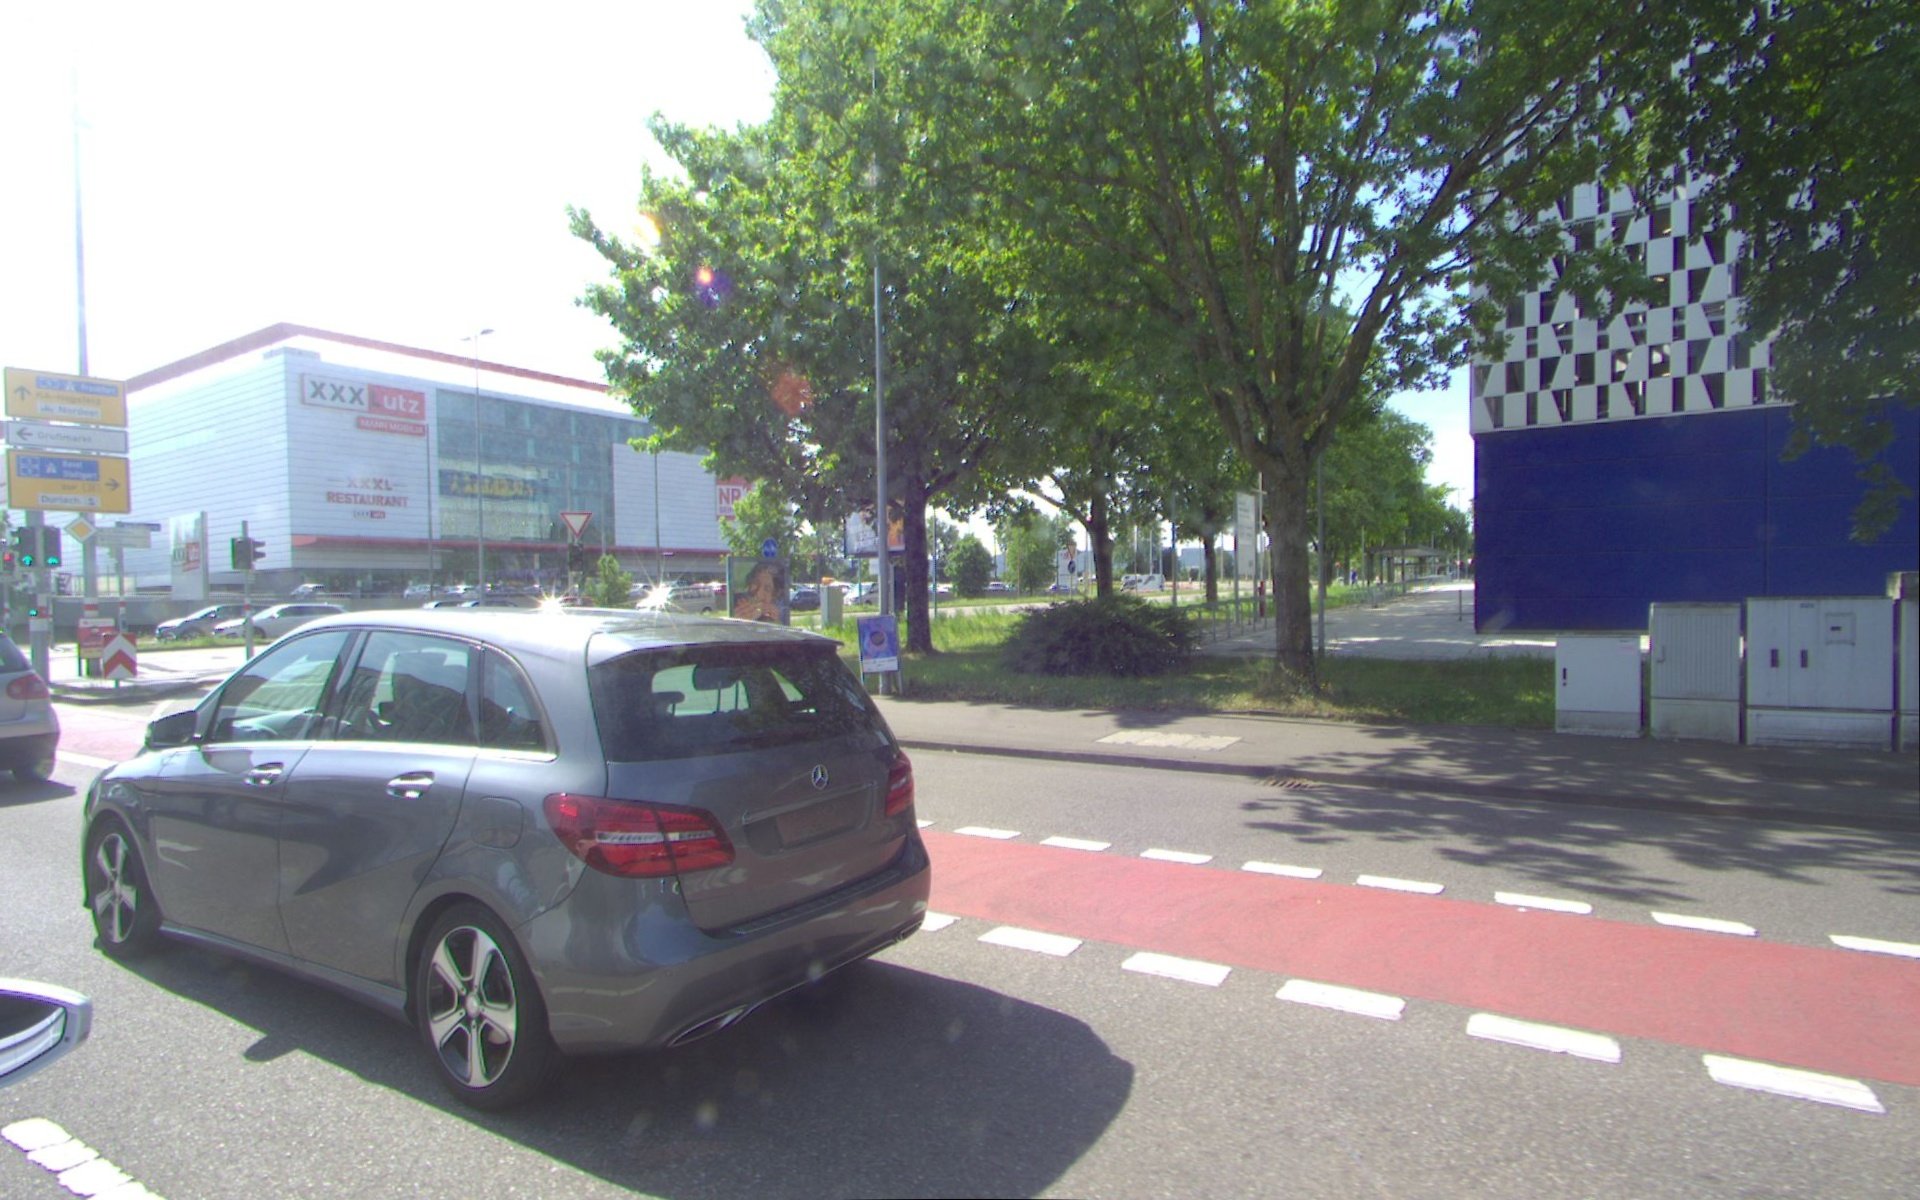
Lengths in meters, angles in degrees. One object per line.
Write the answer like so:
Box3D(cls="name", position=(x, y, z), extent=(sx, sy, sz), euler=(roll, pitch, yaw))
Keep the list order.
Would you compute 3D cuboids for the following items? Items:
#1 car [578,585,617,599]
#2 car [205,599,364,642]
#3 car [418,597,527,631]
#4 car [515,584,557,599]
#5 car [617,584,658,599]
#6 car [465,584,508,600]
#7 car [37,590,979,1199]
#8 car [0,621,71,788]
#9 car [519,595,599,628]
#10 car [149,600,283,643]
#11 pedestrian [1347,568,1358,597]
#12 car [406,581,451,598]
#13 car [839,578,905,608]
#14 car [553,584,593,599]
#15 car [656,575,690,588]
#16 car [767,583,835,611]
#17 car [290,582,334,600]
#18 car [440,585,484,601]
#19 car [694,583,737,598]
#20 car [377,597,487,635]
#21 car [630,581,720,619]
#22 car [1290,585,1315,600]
Box3D(cls="car", position=(-37.766, -0.852, 104.250), extent=(4.143, 1.439, 1.730), euler=(-1, 1, 35))
Box3D(cls="car", position=(-25.910, 0.761, 38.577), extent=(1.933, 1.444, 4.701), euler=(-2, 0, 35))
Box3D(cls="car", position=(-21.502, 0.596, 44.303), extent=(1.701, 1.360, 4.032), euler=(-1, 0, 34))
Box3D(cls="car", position=(-41.762, -0.829, 98.570), extent=(4.143, 1.439, 1.895), euler=(-1, 1, 35))
Box3D(cls="car", position=(-31.236, -0.817, 97.087), extent=(4.054, 1.439, 1.679), euler=(-1, 1, 35))
Box3D(cls="car", position=(-44.730, -0.732, 94.644), extent=(4.143, 1.439, 1.866), euler=(-1, 1, 35))
Box3D(cls="car", position=(-2.114, 0.762, 4.368), extent=(4.077, 1.559, 1.771), euler=(0, 0, 31))
Box3D(cls="car", position=(-10.005, 0.916, 9.282), extent=(3.628, 1.432, 1.664), euler=(-1, -1, 31))
Box3D(cls="car", position=(-20.303, 0.556, 50.792), extent=(1.578, 1.597, 3.458), euler=(0, 1, 36))
Box3D(cls="car", position=(-29.064, 0.802, 39.214), extent=(1.785, 1.579, 3.871), euler=(-1, 0, 36))
Box3D(cls="pedestrian", position=(27.956, -1.235, 71.347), extent=(0.670, 2.039, 0.600), euler=(-1, -2, 18))
Box3D(cls="car", position=(-47.821, -0.954, 90.050), extent=(3.950, 1.439, 1.795), euler=(-1, 1, 32))
Box3D(cls="car", position=(-6.194, -0.491, 70.954), extent=(1.890, 1.961, 4.757), euler=(-2, 0, 37))
Box3D(cls="car", position=(-39.583, -0.850, 102.414), extent=(4.143, 1.439, 1.799), euler=(-1, 1, 34))
Box3D(cls="car", position=(-34.192, -2.194, 119.413), extent=(4.143, 1.439, 1.679), euler=(-1, 1, 35))
Box3D(cls="car", position=(-9.667, -0.168, 61.065), extent=(1.662, 1.641, 4.102), euler=(0, 1, 37))
Box3D(cls="car", position=(-56.107, -0.779, 86.695), extent=(4.143, 1.439, 1.766), euler=(-1, 1, 35))
Box3D(cls="car", position=(-45.743, -0.643, 91.967), extent=(4.143, 1.439, 1.826), euler=(-1, 1, 35))
Box3D(cls="car", position=(-24.068, -0.916, 98.450), extent=(4.051, 1.439, 1.784), euler=(-1, 1, 33))
Box3D(cls="car", position=(-24.098, 0.720, 45.834), extent=(1.883, 1.528, 4.015), euler=(-2, 1, 35))
Box3D(cls="car", position=(-16.149, -0.023, 56.912), extent=(1.937, 2.002, 4.658), euler=(-2, 0, 35))
Box3D(cls="car", position=(36.995, -0.804, 108.111), extent=(1.618, 1.556, 3.893), euler=(0, 1, 34))
